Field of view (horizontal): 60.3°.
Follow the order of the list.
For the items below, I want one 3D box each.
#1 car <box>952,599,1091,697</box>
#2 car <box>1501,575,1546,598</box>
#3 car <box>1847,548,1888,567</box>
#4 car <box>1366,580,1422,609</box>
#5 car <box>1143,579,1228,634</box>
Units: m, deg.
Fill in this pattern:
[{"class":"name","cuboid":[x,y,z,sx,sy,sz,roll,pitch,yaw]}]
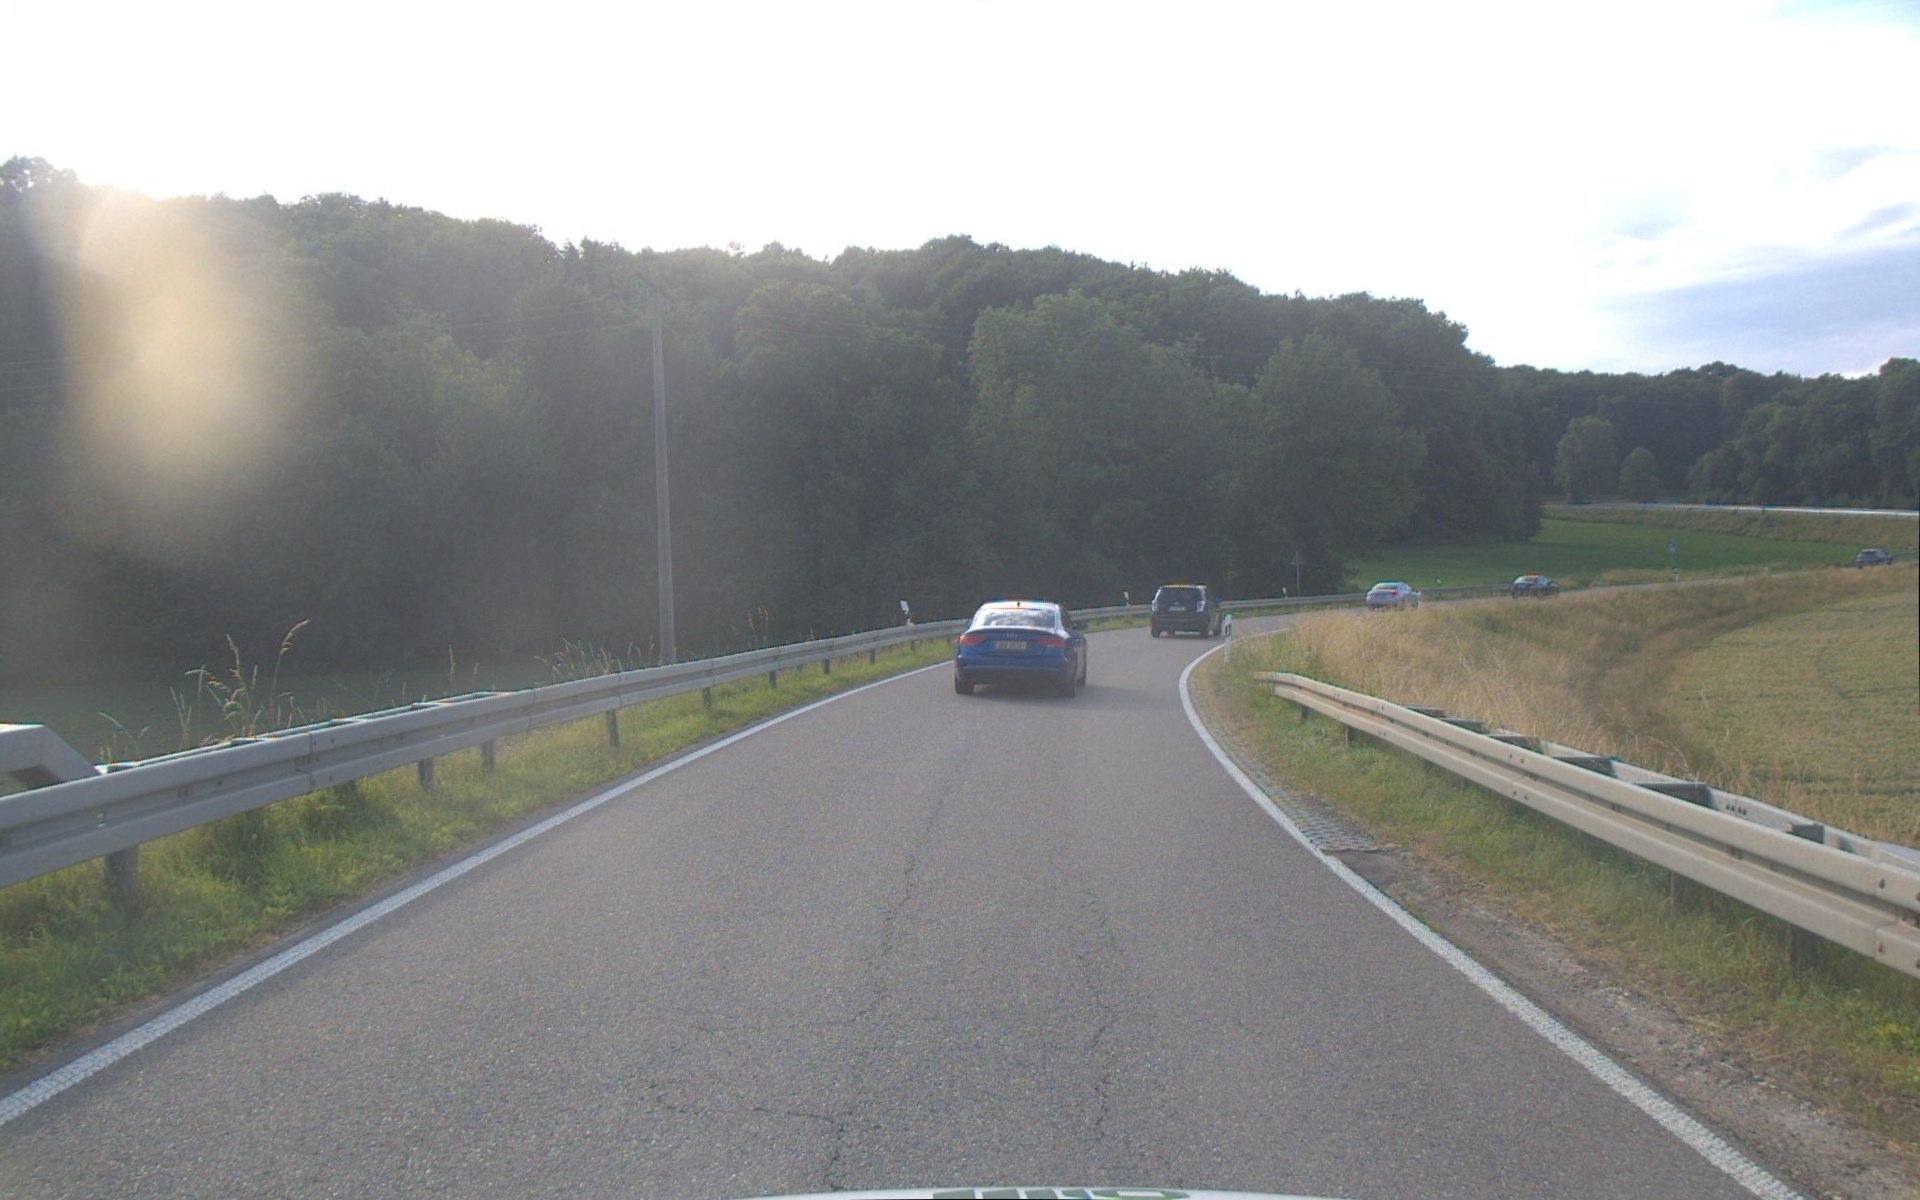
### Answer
[{"class":"car","cuboid":[1.039,0.674,25.548,1.780,1.362,4.353,0,0,7]},{"class":"car","cuboid":[35.107,-0.860,103.022,1.450,1.248,3.279,-3,0,43]},{"class":"car","cuboid":[80.447,-3.752,146.584,4.141,1.708,1.970,-1,1,-41]},{"class":"car","cuboid":[22.332,-0.308,85.104,1.652,1.400,3.990,-2,0,32]},{"class":"car","cuboid":[7.137,0.161,51.968,1.823,1.596,4.001,2,1,19]}]
